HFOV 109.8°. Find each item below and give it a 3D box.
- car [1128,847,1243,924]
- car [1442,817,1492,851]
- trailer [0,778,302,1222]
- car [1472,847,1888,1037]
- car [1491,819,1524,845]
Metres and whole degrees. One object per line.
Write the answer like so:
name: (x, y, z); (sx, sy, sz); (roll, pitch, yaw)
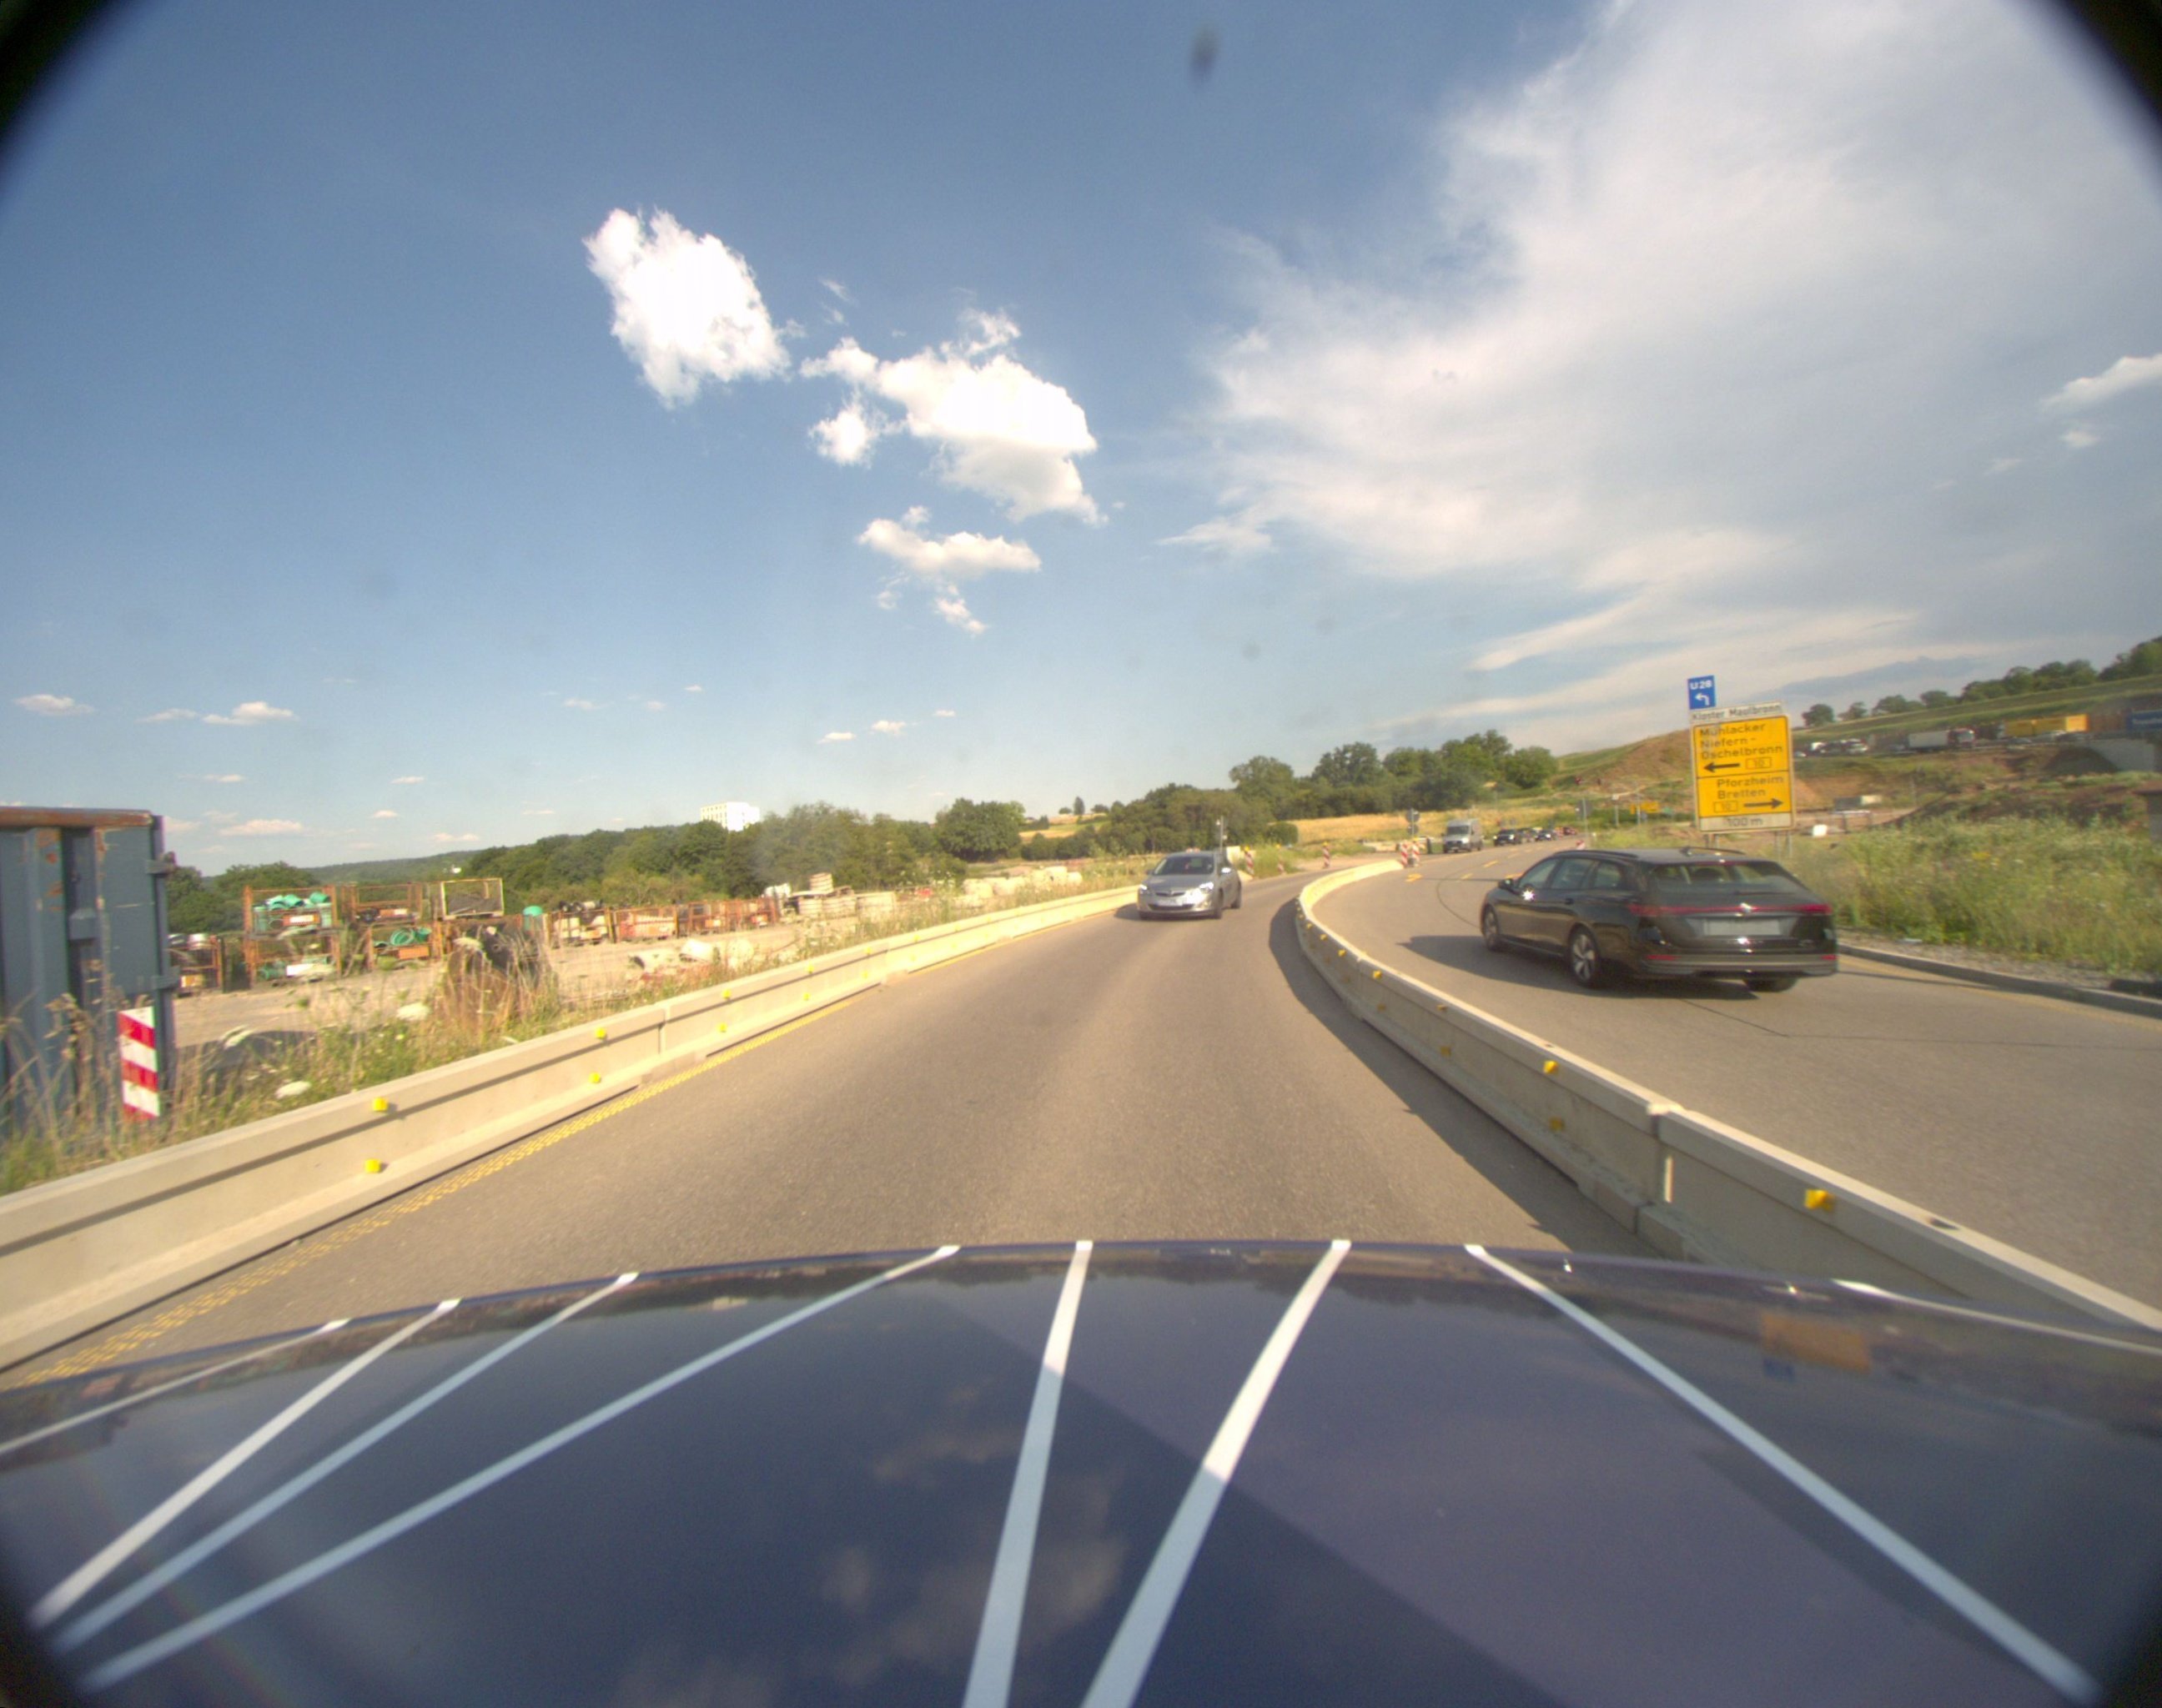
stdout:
car: (2.542, 0.632, 17.530); (1.745, 1.476, 4.257); (-3, 0, 19)
car: (30.057, -1.595, 59.097); (1.912, 2.486, 5.808); (-2, 1, 43)
trailer: (-7.957, 0.929, 2.222); (3.008, 2.400, 7.235); (-4, 0, 15)
car: (6.169, 0.731, 8.640); (1.713, 1.510, 4.517); (-1, 1, 9)
car: (42.762, -2.242, 76.132); (1.872, 2.389, 4.007); (-2, 1, 43)
